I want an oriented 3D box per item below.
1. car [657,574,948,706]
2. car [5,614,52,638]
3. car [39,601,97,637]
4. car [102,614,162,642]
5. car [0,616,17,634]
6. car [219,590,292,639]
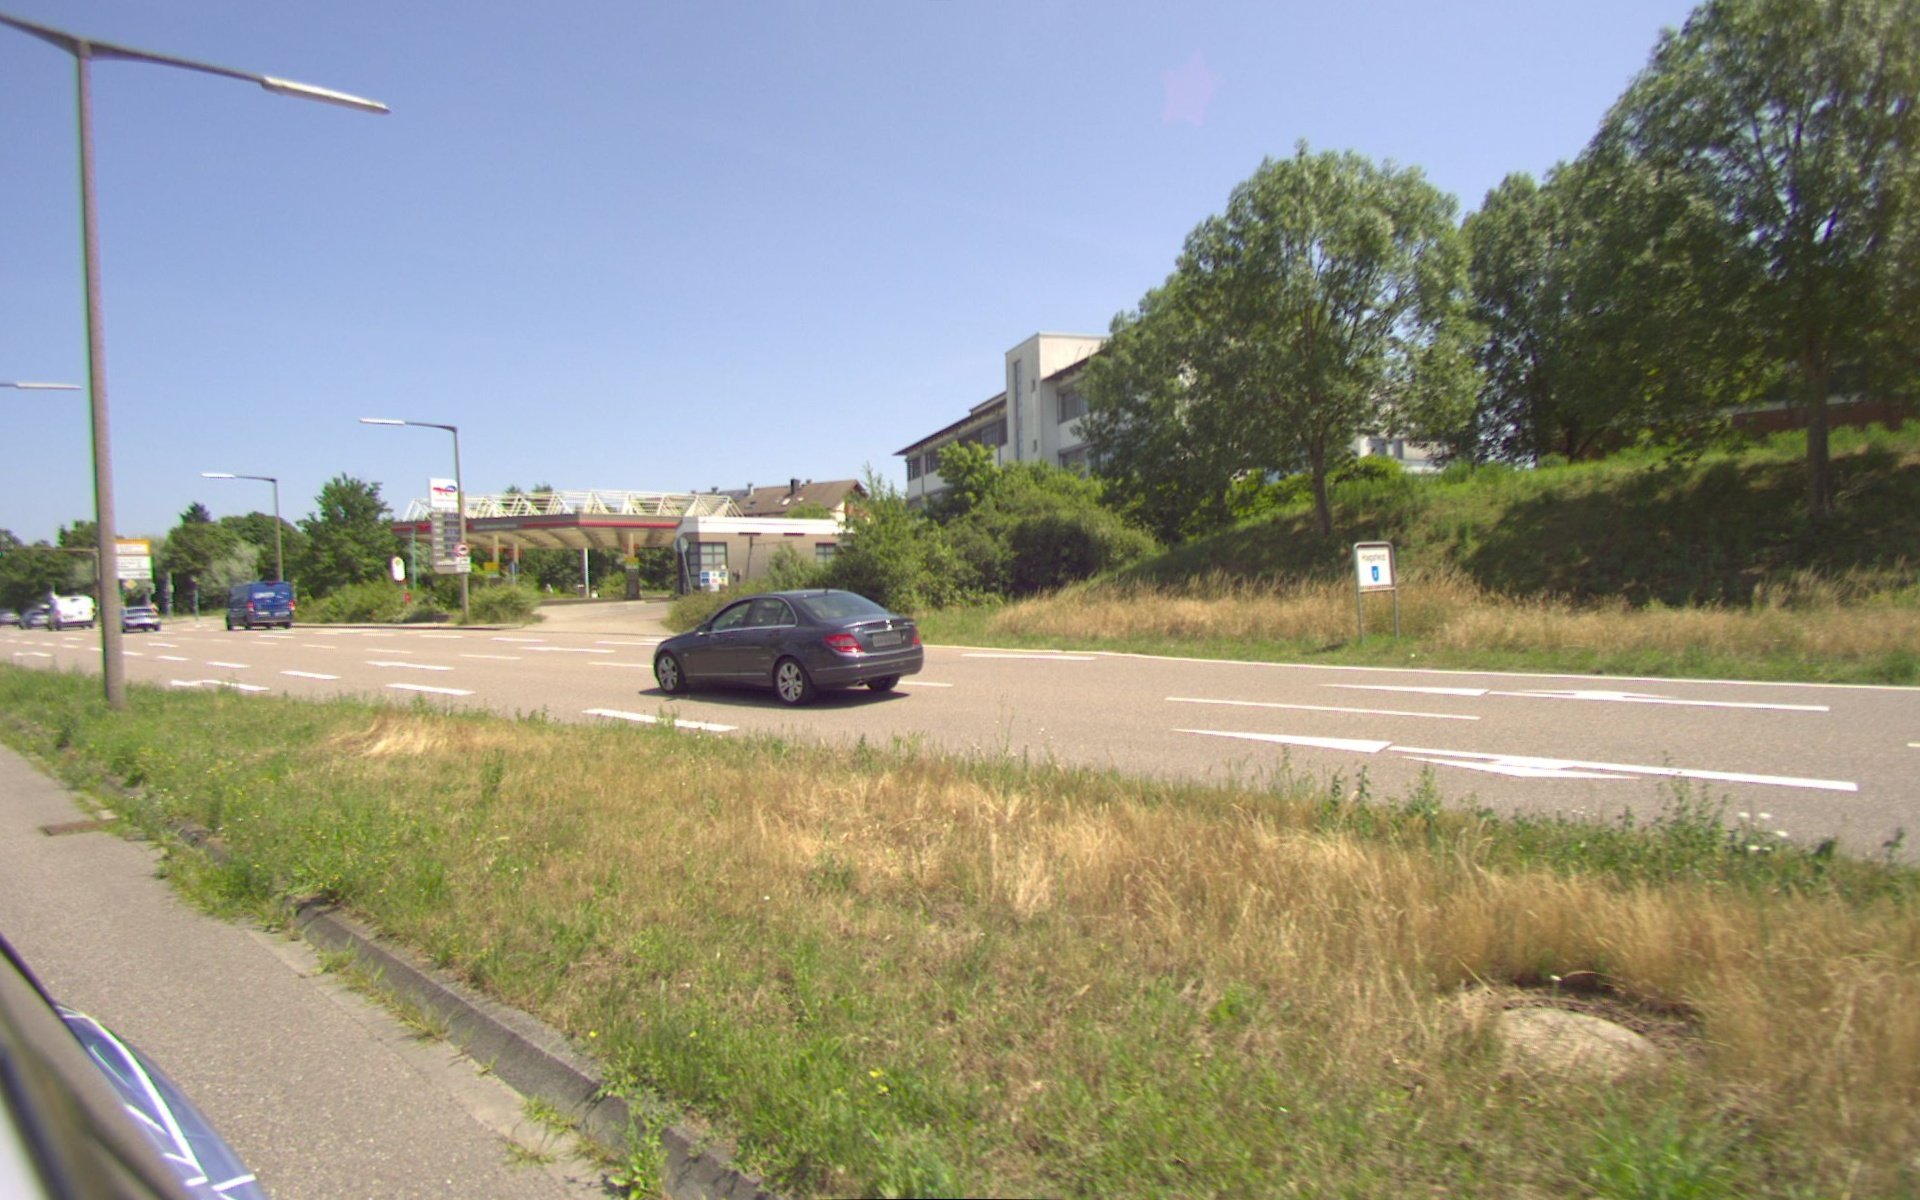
[{"bbox_3d":[-2.225,0.490,13.664,3.998,1.503,1.674,-2,1,41],"label":"car"},{"bbox_3d":[-72.964,2.034,79.253,5.016,1.763,1.946,-1,1,39],"label":"car"},{"bbox_3d":[-62.881,1.320,71.313,5.446,2.289,2.226,-1,3,41],"label":"car"},{"bbox_3d":[-48.369,1.647,59.079,4.847,1.460,1.813,-2,1,40],"label":"car"},{"bbox_3d":[-87.423,2.325,92.134,3.995,1.550,1.643,-2,3,39],"label":"car"},{"bbox_3d":[-38.006,0.774,54.535,5.673,2.429,2.149,-2,1,44],"label":"car"}]
